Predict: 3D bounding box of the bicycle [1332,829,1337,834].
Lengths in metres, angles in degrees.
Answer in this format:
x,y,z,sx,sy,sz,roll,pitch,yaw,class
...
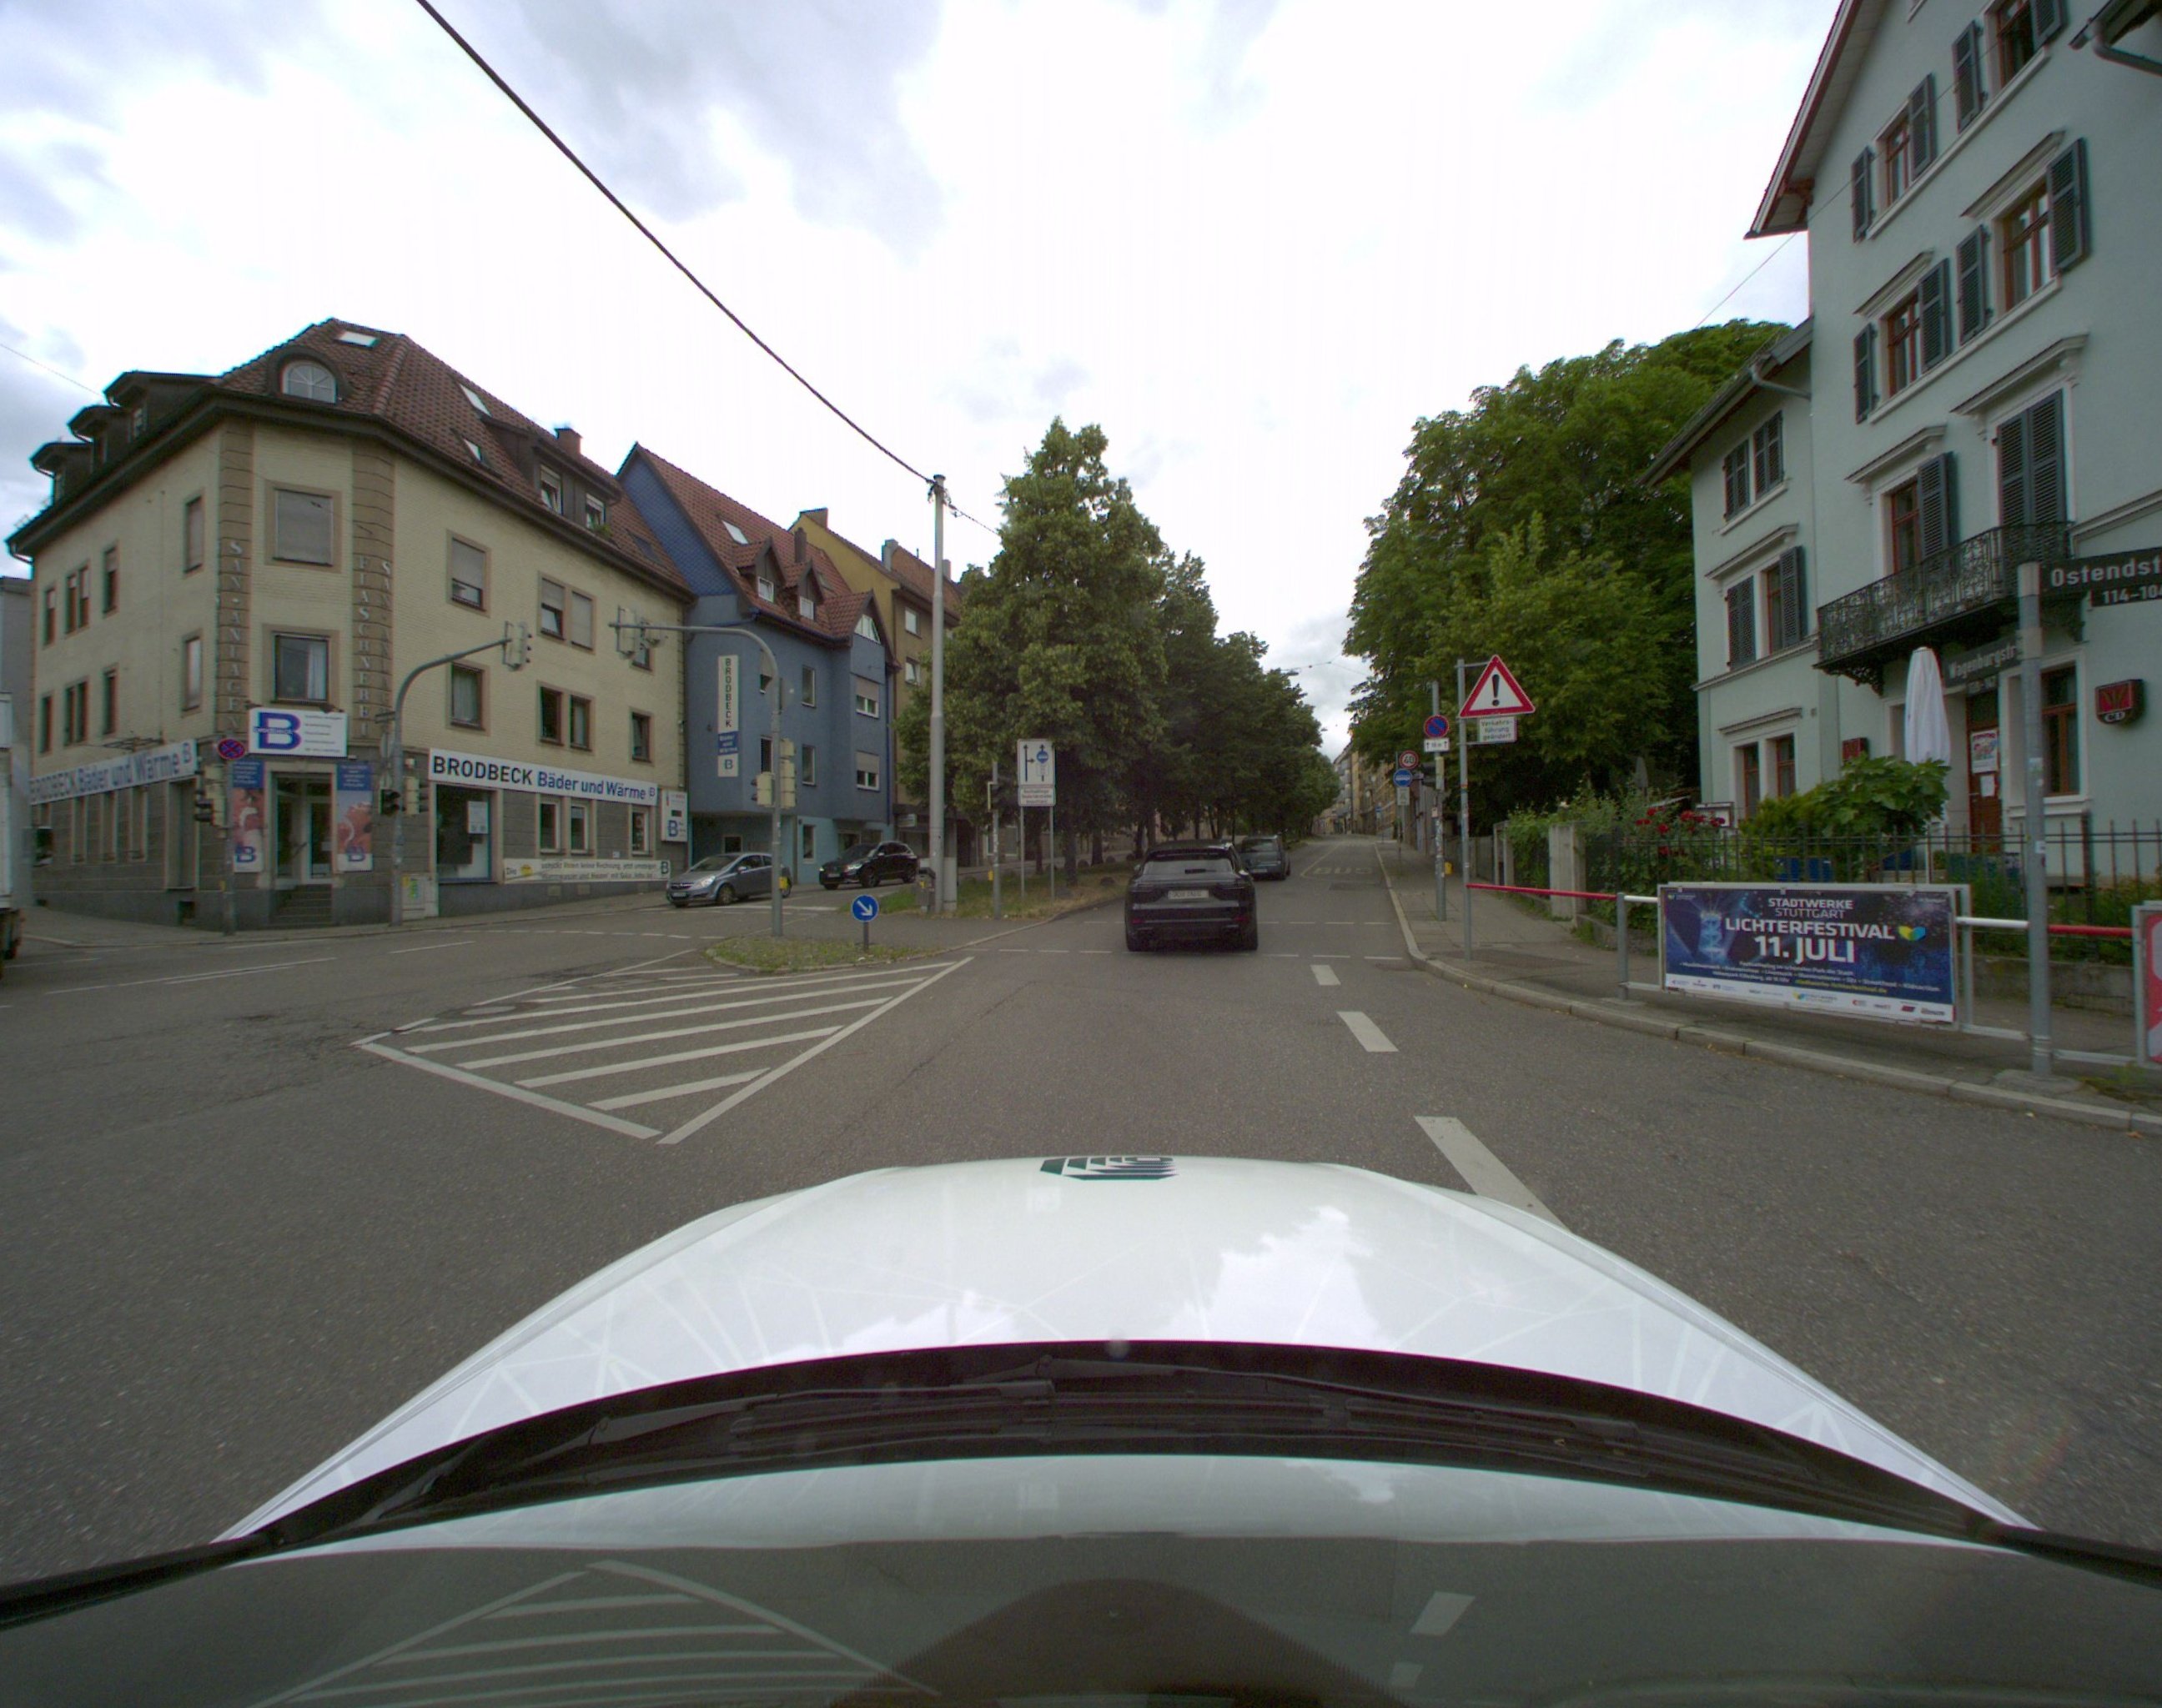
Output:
x,y,z,sx,sy,sz,roll,pitch,yaw,class
60.619,-5.323,194.562,0.873,1.129,2.989,-1,-1,12,bicycle

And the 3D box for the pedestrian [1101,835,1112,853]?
x,y,z,sx,sy,sz,roll,pitch,yaw,class
2.120,-0.851,68.510,0.693,1.460,0.708,-1,2,20,pedestrian

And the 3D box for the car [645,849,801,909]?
x,y,z,sx,sy,sz,roll,pitch,yaw,class
-10.162,0.663,23.537,1.656,1.406,4.314,-2,1,17,car

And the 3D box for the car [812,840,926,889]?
x,y,z,sx,sy,sz,roll,pitch,yaw,class
-7.864,0.359,30.734,1.801,1.637,4.701,-3,0,18,car

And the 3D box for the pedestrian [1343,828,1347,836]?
x,y,z,sx,sy,sz,roll,pitch,yaw,class
57.140,-4.791,176.440,0.746,1.693,0.861,-2,-1,14,pedestrian

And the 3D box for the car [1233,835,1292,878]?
x,y,z,sx,sy,sz,roll,pitch,yaw,class
6.689,0.059,29.729,1.749,1.465,3.609,-1,0,18,car

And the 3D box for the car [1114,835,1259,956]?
x,y,z,sx,sy,sz,roll,pitch,yaw,class
1.901,0.551,13.447,1.980,1.665,4.014,-1,1,12,car

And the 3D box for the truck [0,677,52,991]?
x,y,z,sx,sy,sz,roll,pitch,yaw,class
-16.274,-0.188,11.077,8.405,3.575,2.727,-1,-1,39,truck

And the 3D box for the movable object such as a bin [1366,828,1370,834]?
x,y,z,sx,sy,sz,roll,pitch,yaw,class
47.707,-3.824,135.514,0.590,0.904,0.565,-1,1,14,movable object such as a bin
